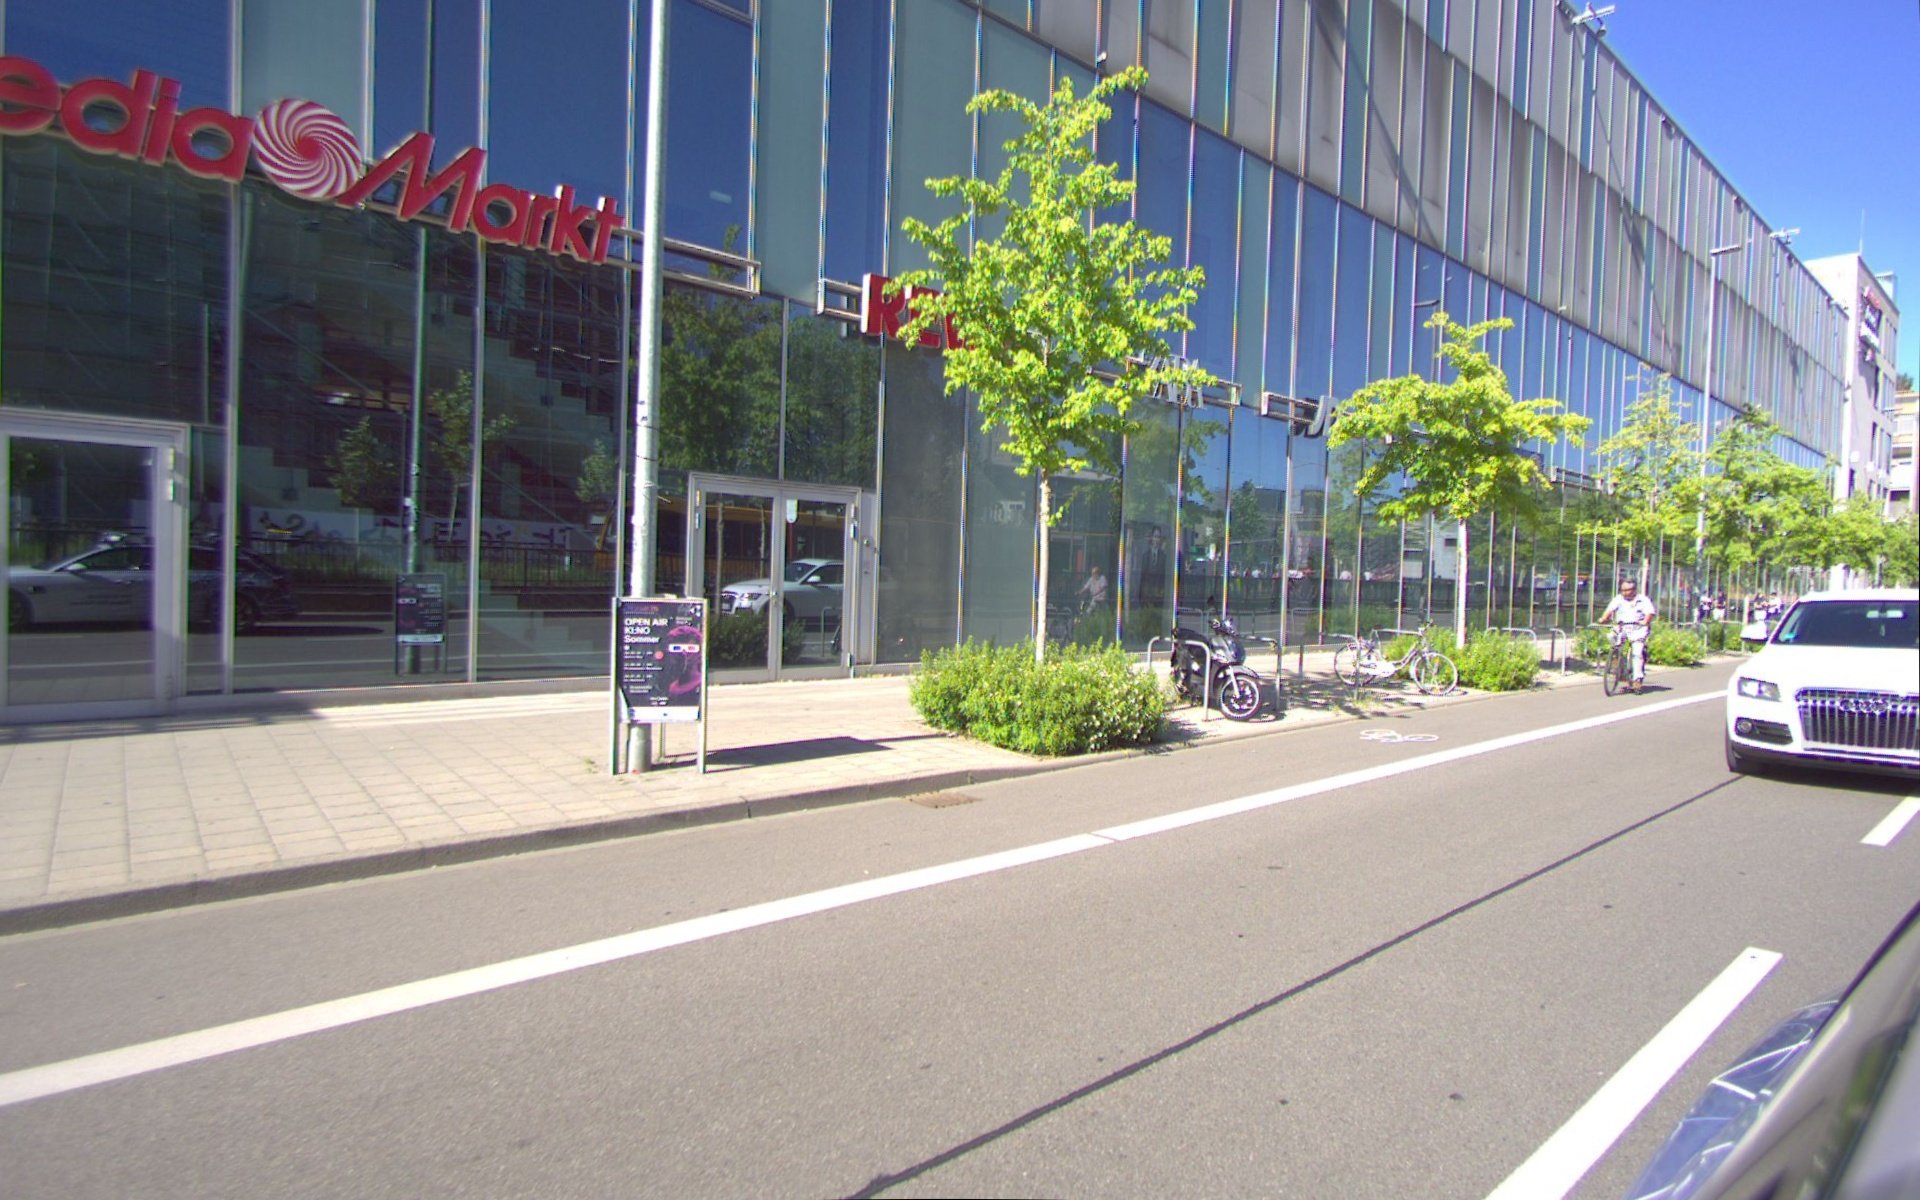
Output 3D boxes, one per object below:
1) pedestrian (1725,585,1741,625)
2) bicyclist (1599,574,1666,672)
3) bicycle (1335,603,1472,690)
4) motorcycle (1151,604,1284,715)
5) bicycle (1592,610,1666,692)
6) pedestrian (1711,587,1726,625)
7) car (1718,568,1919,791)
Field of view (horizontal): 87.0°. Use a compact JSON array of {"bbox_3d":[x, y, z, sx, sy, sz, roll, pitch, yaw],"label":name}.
[{"bbox_3d":[33.512,0.230,43.866,0.339,1.712,0.450,1,1,-40],"label":"pedestrian"},{"bbox_3d":[10.501,0.334,15.800,0.754,1.480,0.578,2,2,45],"label":"bicyclist"},{"bbox_3d":[6.525,0.654,14.944,1.729,1.075,0.462,6,3,35],"label":"bicycle"},{"bbox_3d":[3.030,0.669,12.143,0.630,1.095,1.886,1,3,-16],"label":"motorcycle"},{"bbox_3d":[10.500,0.763,15.849,0.608,1.165,1.956,1,1,44],"label":"bicycle"},{"bbox_3d":[33.059,0.252,44.121,0.282,1.620,0.450,1,1,-40],"label":"pedestrian"},{"bbox_3d":[8.360,0.582,9.013,3.933,1.654,1.931,0,1,-43],"label":"car"}]
